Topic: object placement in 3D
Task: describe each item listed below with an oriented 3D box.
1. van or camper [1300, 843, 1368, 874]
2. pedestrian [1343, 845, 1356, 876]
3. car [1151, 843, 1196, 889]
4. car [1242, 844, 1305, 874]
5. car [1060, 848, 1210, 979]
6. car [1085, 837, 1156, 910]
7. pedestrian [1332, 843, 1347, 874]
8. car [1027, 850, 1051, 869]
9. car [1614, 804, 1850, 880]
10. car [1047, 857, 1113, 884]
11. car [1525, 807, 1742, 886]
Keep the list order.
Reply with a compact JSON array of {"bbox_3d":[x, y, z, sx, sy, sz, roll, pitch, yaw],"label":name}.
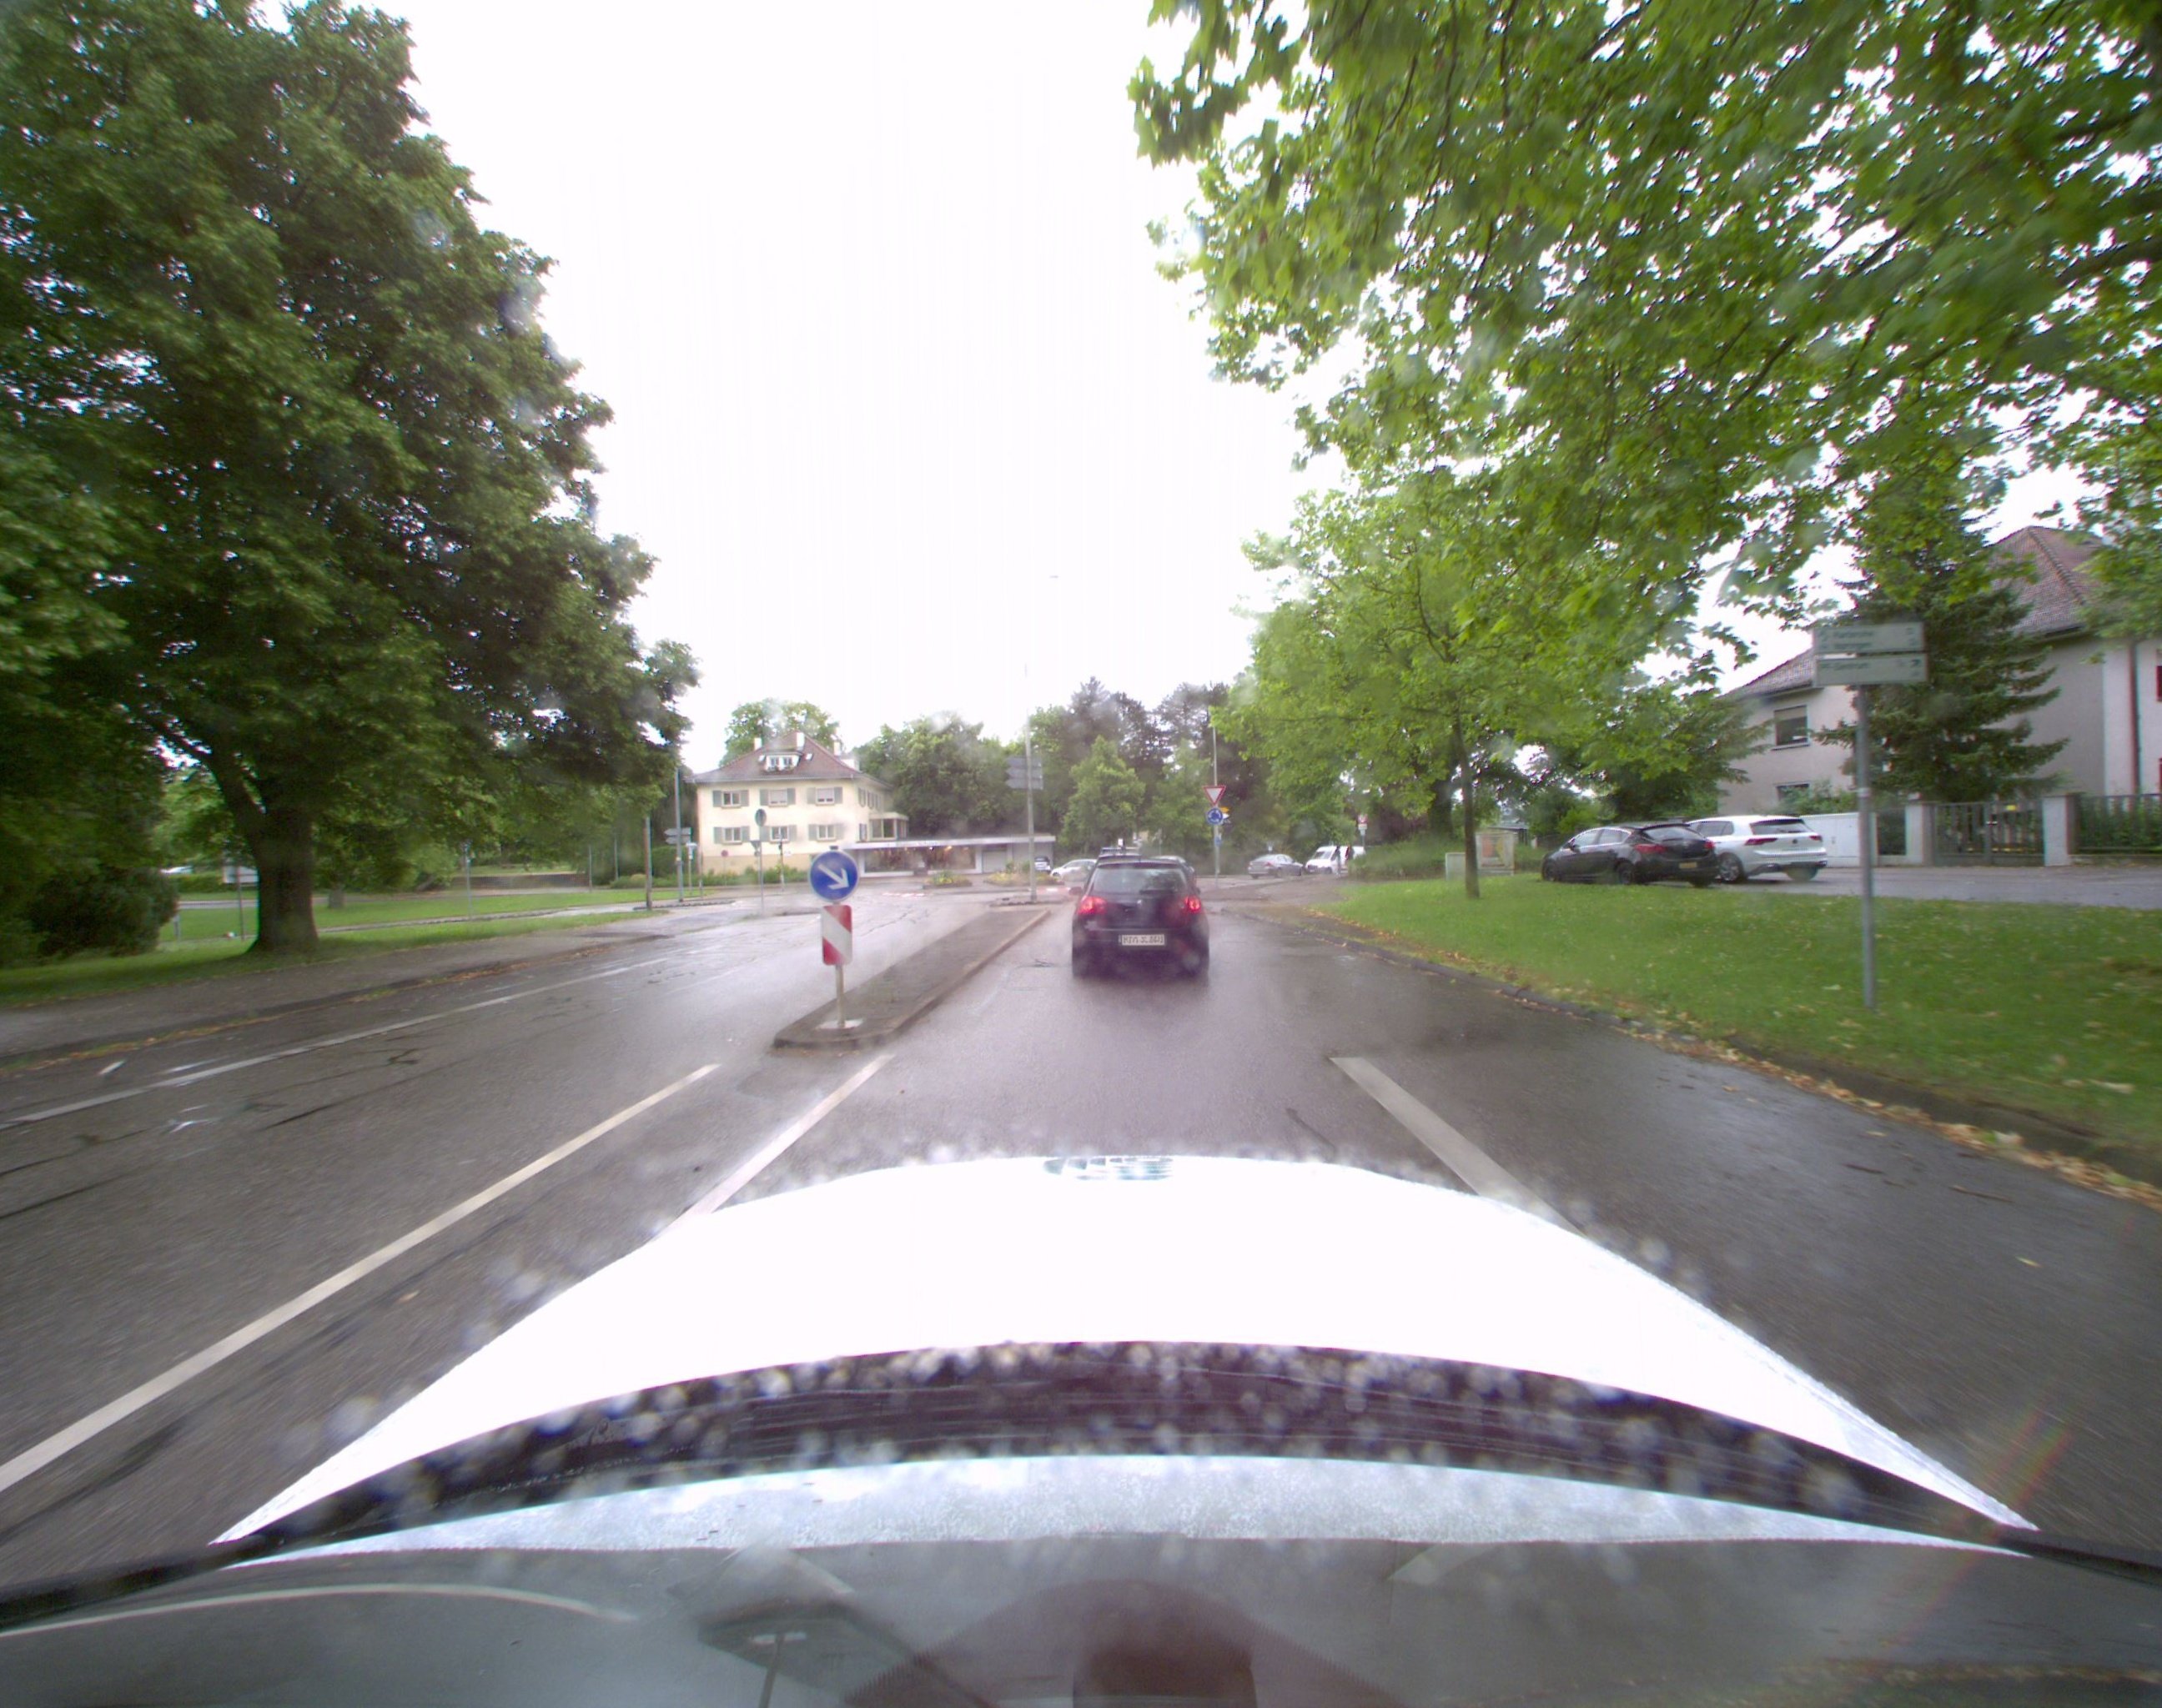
[{"bbox_3d":[20.240,0.373,64.981,5.693,2.378,2.177,0,-1,-36],"label":"van or camper"},{"bbox_3d":[14.891,0.340,45.197,0.629,1.713,0.532,-1,-1,17],"label":"pedestrian"},{"bbox_3d":[3.996,0.489,35.562,1.756,1.801,4.252,-3,-1,5],"label":"car"},{"bbox_3d":[11.361,0.320,47.933,1.974,1.684,4.058,-1,-1,41],"label":"car"},{"bbox_3d":[0.848,0.709,11.635,1.756,1.538,4.007,-1,0,6],"label":"car"},{"bbox_3d":[1.031,0.517,23.158,1.759,1.801,4.245,-3,-1,0],"label":"car"},{"bbox_3d":[14.149,0.254,44.563,0.529,1.713,0.633,0,-1,-13],"label":"pedestrian"},{"bbox_3d":[-3.498,0.446,67.175,1.810,1.486,3.823,-3,0,-6],"label":"car"},{"bbox_3d":[14.796,-0.226,18.902,1.840,1.471,4.424,-3,-1,-1],"label":"car"},{"bbox_3d":[-0.089,1.079,54.078,4.090,1.741,2.012,-1,-1,39],"label":"car"},{"bbox_3d":[12.344,-0.128,18.646,1.759,1.471,4.597,-4,-1,0],"label":"car"}]
